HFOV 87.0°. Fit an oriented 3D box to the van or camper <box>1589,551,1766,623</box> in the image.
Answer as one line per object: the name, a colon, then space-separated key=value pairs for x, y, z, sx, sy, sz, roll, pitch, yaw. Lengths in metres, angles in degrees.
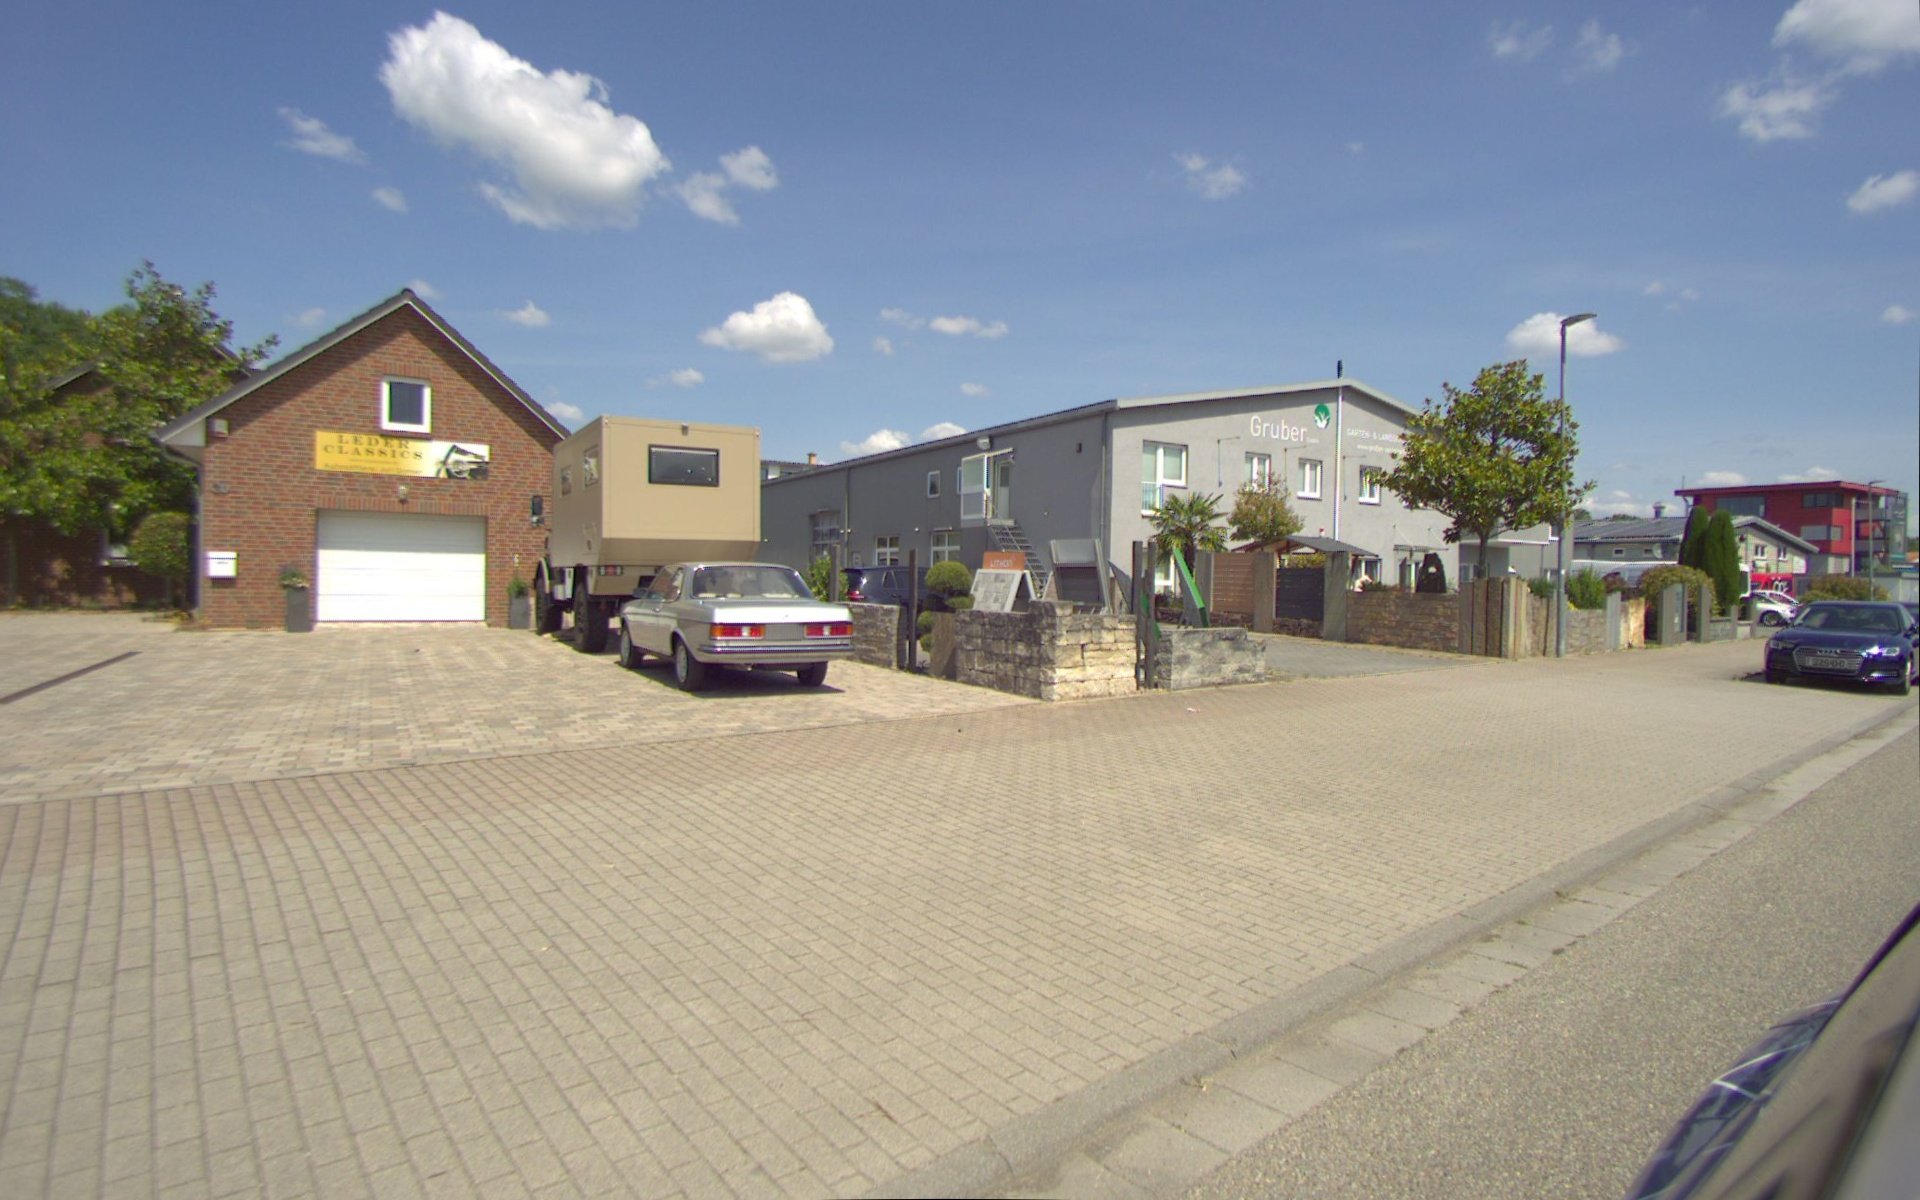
van or camper: x=27.089 y=-0.548 z=38.429 sx=1.959 sy=2.565 sz=5.118 roll=1 pitch=2 yaw=-26

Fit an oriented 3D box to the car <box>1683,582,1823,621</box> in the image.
car: x=35.136 y=0.020 z=44.935 sx=1.683 sy=1.505 sz=4.606 roll=0 pitch=2 yaw=-39

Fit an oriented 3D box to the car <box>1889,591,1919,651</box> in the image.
car: x=25.445 y=0.542 z=26.139 sx=4.122 sy=1.441 sz=1.618 roll=0 pitch=3 yaw=-41

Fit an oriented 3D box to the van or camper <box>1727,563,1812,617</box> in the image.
van or camper: x=44.063 y=-0.545 z=55.072 sx=4.800 sy=2.802 sz=2.043 roll=0 pitch=2 yaw=-32

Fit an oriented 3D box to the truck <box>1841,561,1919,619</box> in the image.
truck: x=47.150 y=-0.504 z=51.089 sx=5.669 sy=2.722 sz=2.388 roll=0 pitch=2 yaw=-32

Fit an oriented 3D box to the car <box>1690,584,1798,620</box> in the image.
car: x=36.778 y=0.067 z=47.520 sx=1.684 sy=1.505 sz=3.702 roll=0 pitch=2 yaw=-39

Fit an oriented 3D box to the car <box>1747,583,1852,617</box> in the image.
car: x=41.327 y=-0.017 z=49.856 sx=1.684 sy=1.505 sz=3.702 roll=0 pitch=2 yaw=-39

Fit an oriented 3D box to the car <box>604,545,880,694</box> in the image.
car: x=-2.782 y=0.115 z=12.069 sx=1.937 sy=1.437 sz=4.286 roll=0 pitch=2 yaw=-31

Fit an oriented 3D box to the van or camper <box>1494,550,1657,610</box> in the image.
van or camper: x=27.073 y=-0.935 z=44.800 sx=2.091 sy=2.467 sz=5.850 roll=1 pitch=2 yaw=-30

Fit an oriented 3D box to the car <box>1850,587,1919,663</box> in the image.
car: x=20.629 y=0.517 z=21.813 sx=3.808 sy=1.490 sz=1.618 roll=0 pitch=3 yaw=-41

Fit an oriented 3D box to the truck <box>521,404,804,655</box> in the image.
truck: x=-5.383 y=-1.073 z=17.364 sx=3.045 sy=3.430 sz=6.489 roll=0 pitch=2 yaw=-32

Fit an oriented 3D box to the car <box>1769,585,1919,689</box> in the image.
car: x=15.530 y=0.533 z=17.330 sx=4.635 sy=1.490 sz=1.765 roll=0 pitch=3 yaw=-41

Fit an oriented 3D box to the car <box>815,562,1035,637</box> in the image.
car: x=-0.669 y=-0.029 z=19.903 sx=3.921 sy=1.340 sz=1.791 roll=0 pitch=2 yaw=-29
